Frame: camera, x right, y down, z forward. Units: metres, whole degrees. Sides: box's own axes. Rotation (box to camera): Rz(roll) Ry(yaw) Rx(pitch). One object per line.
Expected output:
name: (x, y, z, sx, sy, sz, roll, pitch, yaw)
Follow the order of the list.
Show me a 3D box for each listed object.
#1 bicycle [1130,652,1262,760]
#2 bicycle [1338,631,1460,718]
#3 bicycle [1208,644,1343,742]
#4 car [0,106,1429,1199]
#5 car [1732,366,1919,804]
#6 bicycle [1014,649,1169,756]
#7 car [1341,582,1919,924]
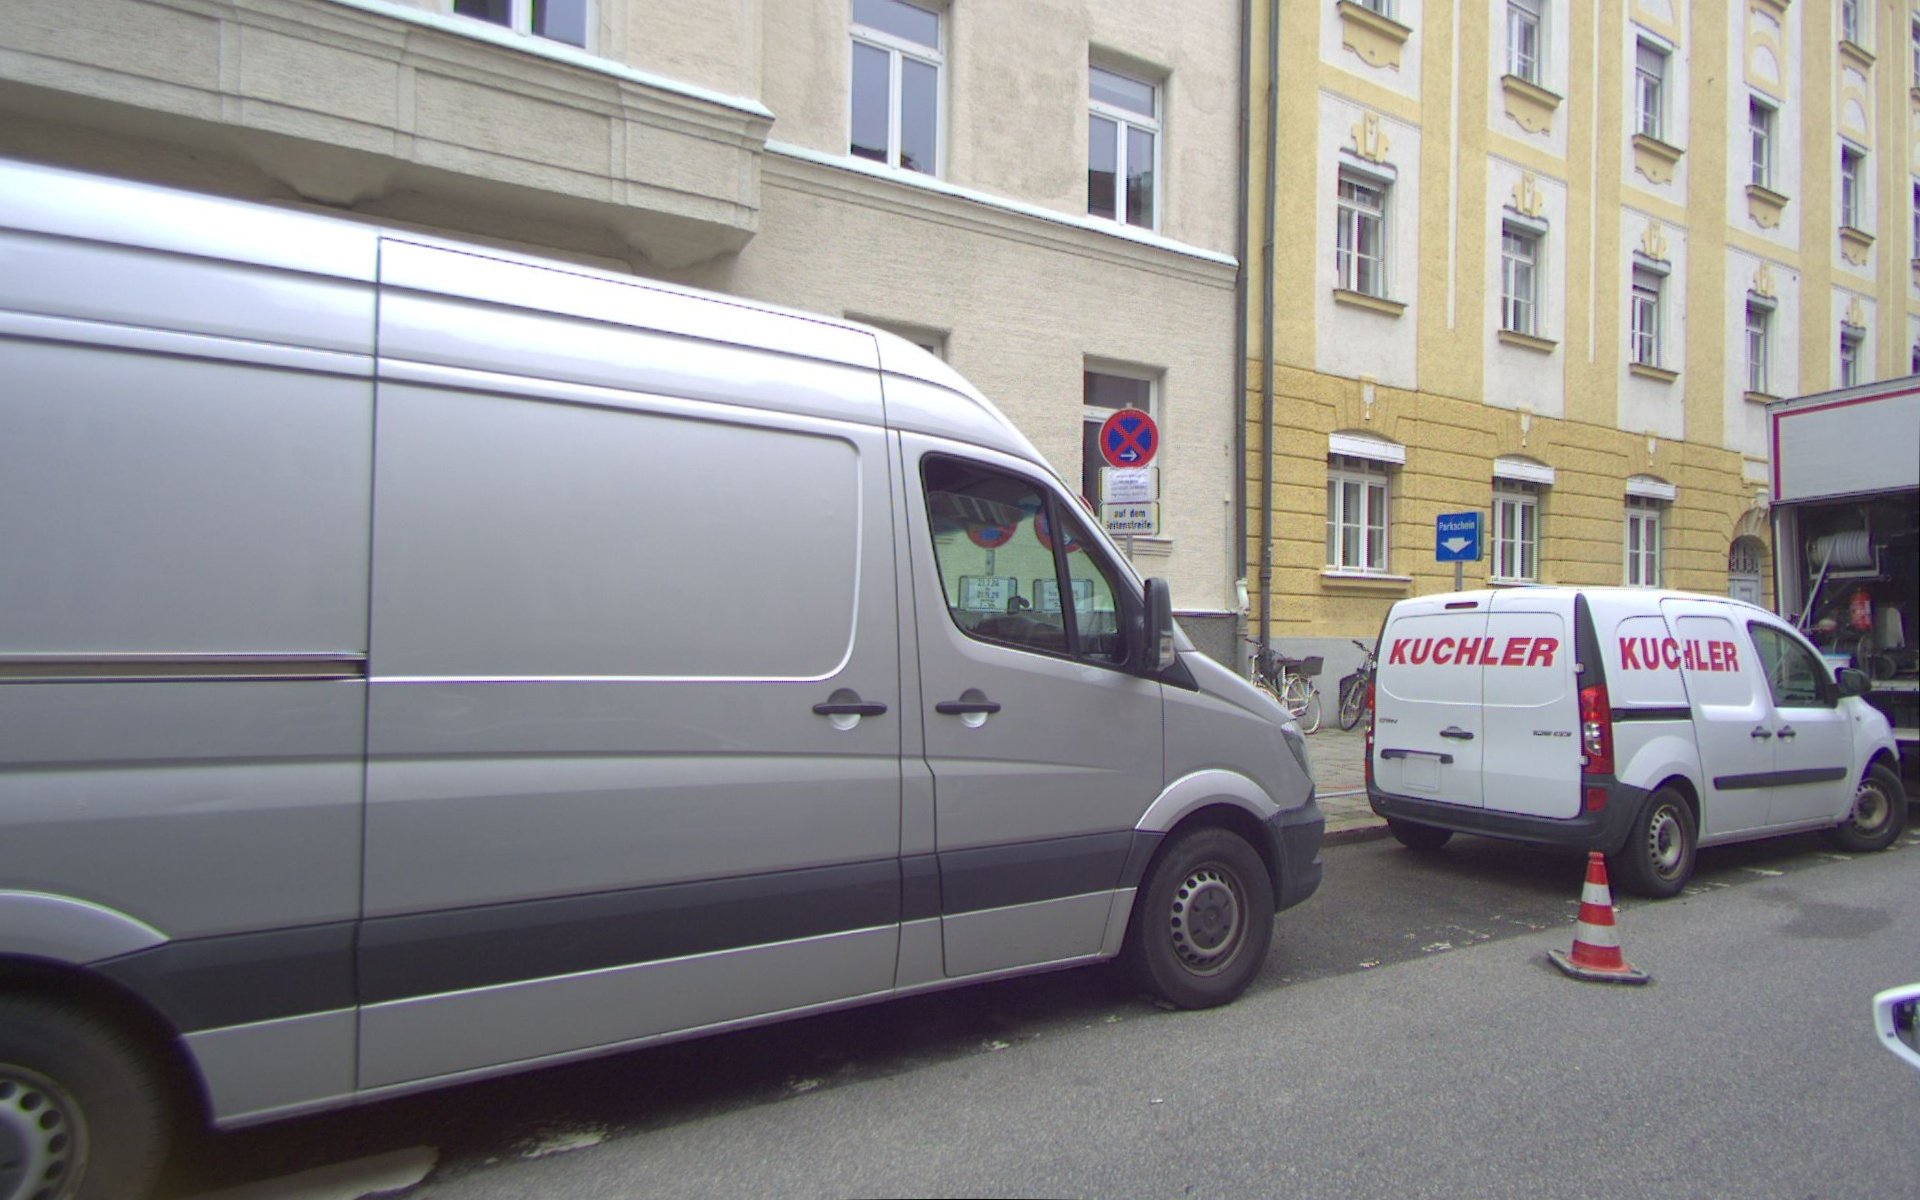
bicycle: (2.697, 1.159, 11.348, 1.848, 1.119, 0.397, 2, -1, -39)
bicycle: (6.013, 1.003, 13.727, 1.745, 1.119, 0.604, 2, -1, -30)
bicycle: (3.918, 1.123, 12.422, 1.745, 1.119, 0.504, 2, 1, -30)
car: (-1.488, 0.357, 3.556, 6.794, 2.620, 2.048, 1, -5, -30)
car: (12.196, -0.027, 11.010, 8.618, 3.868, 2.800, 2, -2, -30)
bicycle: (1.496, 1.123, 11.261, 1.842, 1.119, 0.399, 2, -1, -30)
car: (4.909, 0.897, 7.123, 4.272, 1.802, 1.756, 1, -3, -28)
